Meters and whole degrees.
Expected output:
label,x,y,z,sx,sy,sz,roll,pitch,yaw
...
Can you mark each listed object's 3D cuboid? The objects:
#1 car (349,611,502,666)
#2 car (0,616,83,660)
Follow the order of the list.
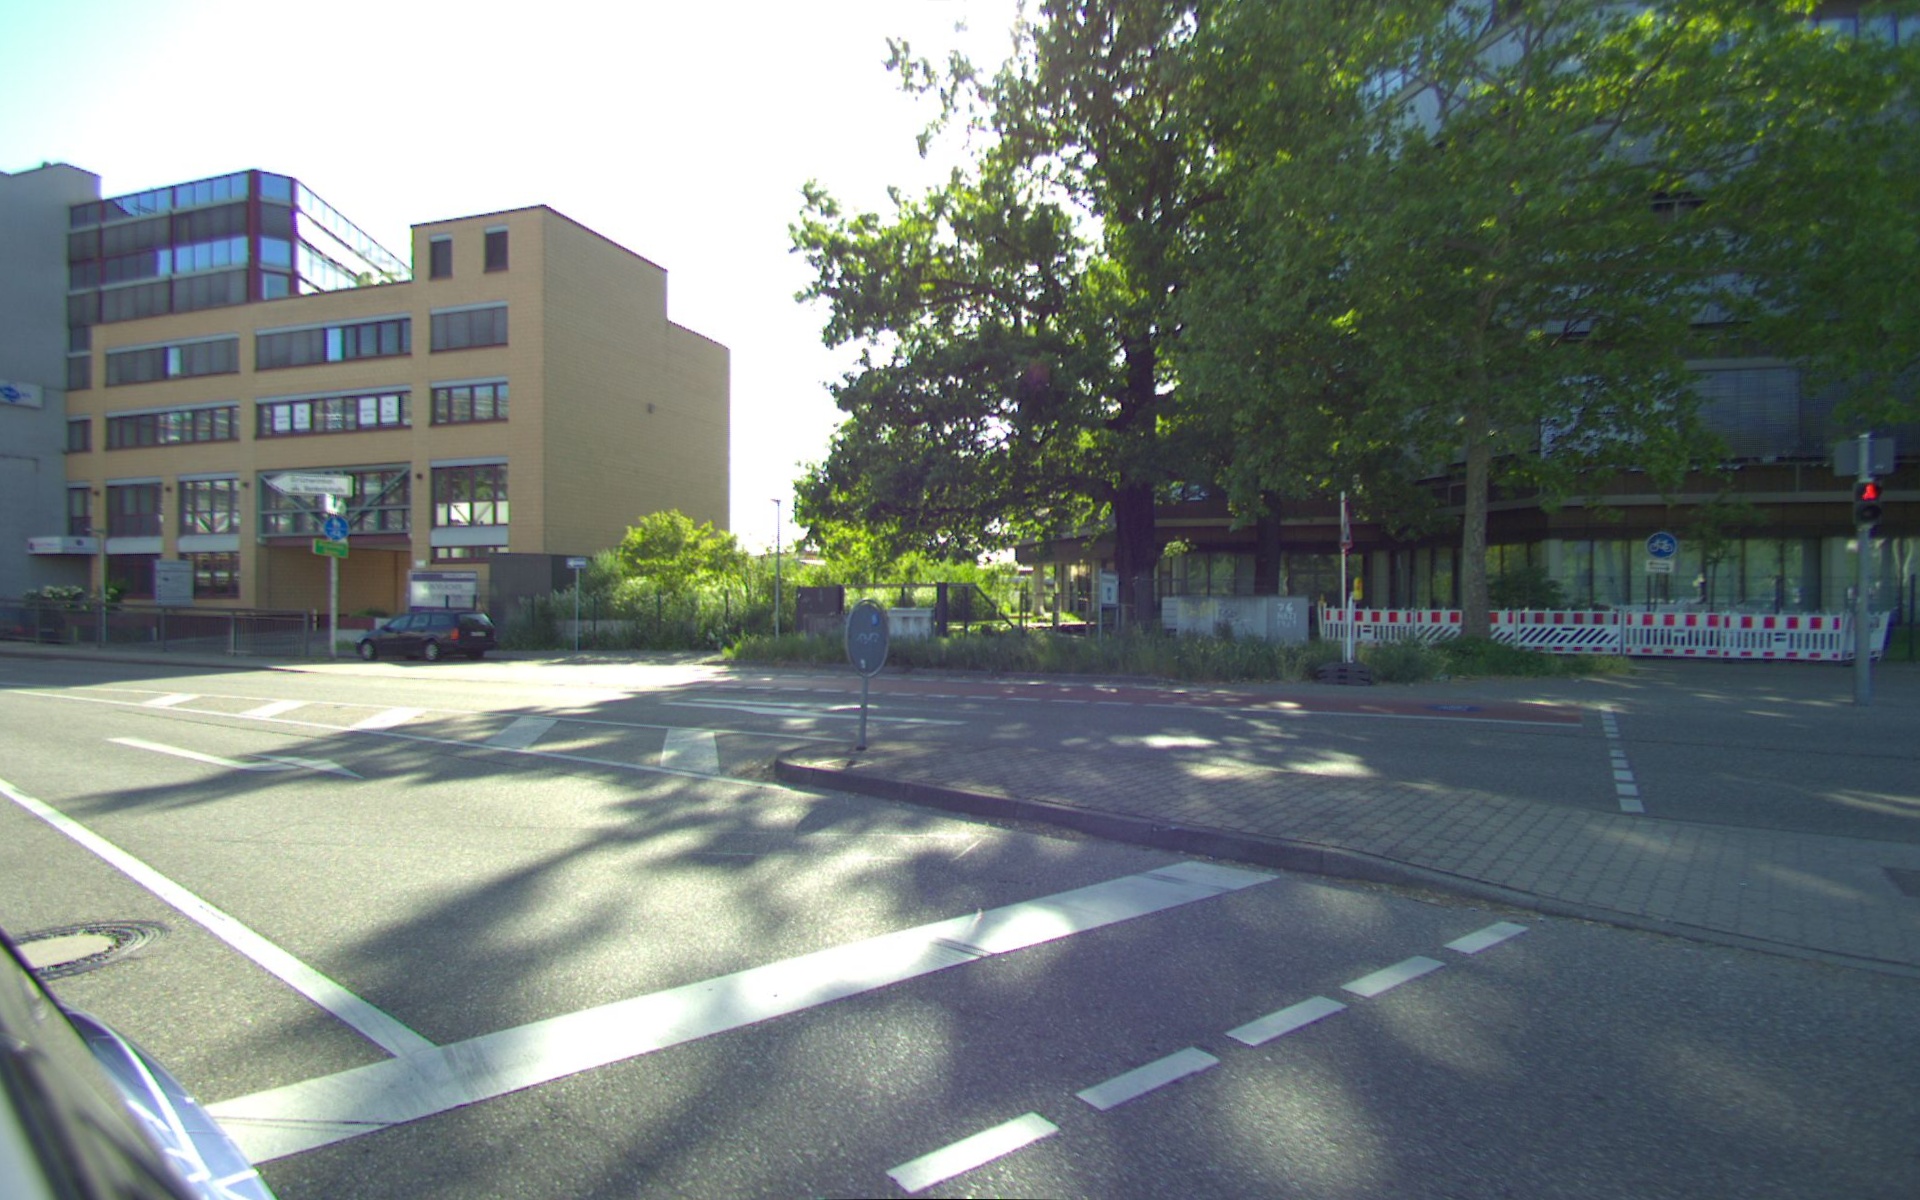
label,x,y,z,sx,sy,sz,roll,pitch,yaw
car,-15.867,1.169,30.048,4.350,1.520,1.647,-2,-3,23
car,-34.509,1.380,37.054,4.123,1.535,1.630,-1,-1,16
